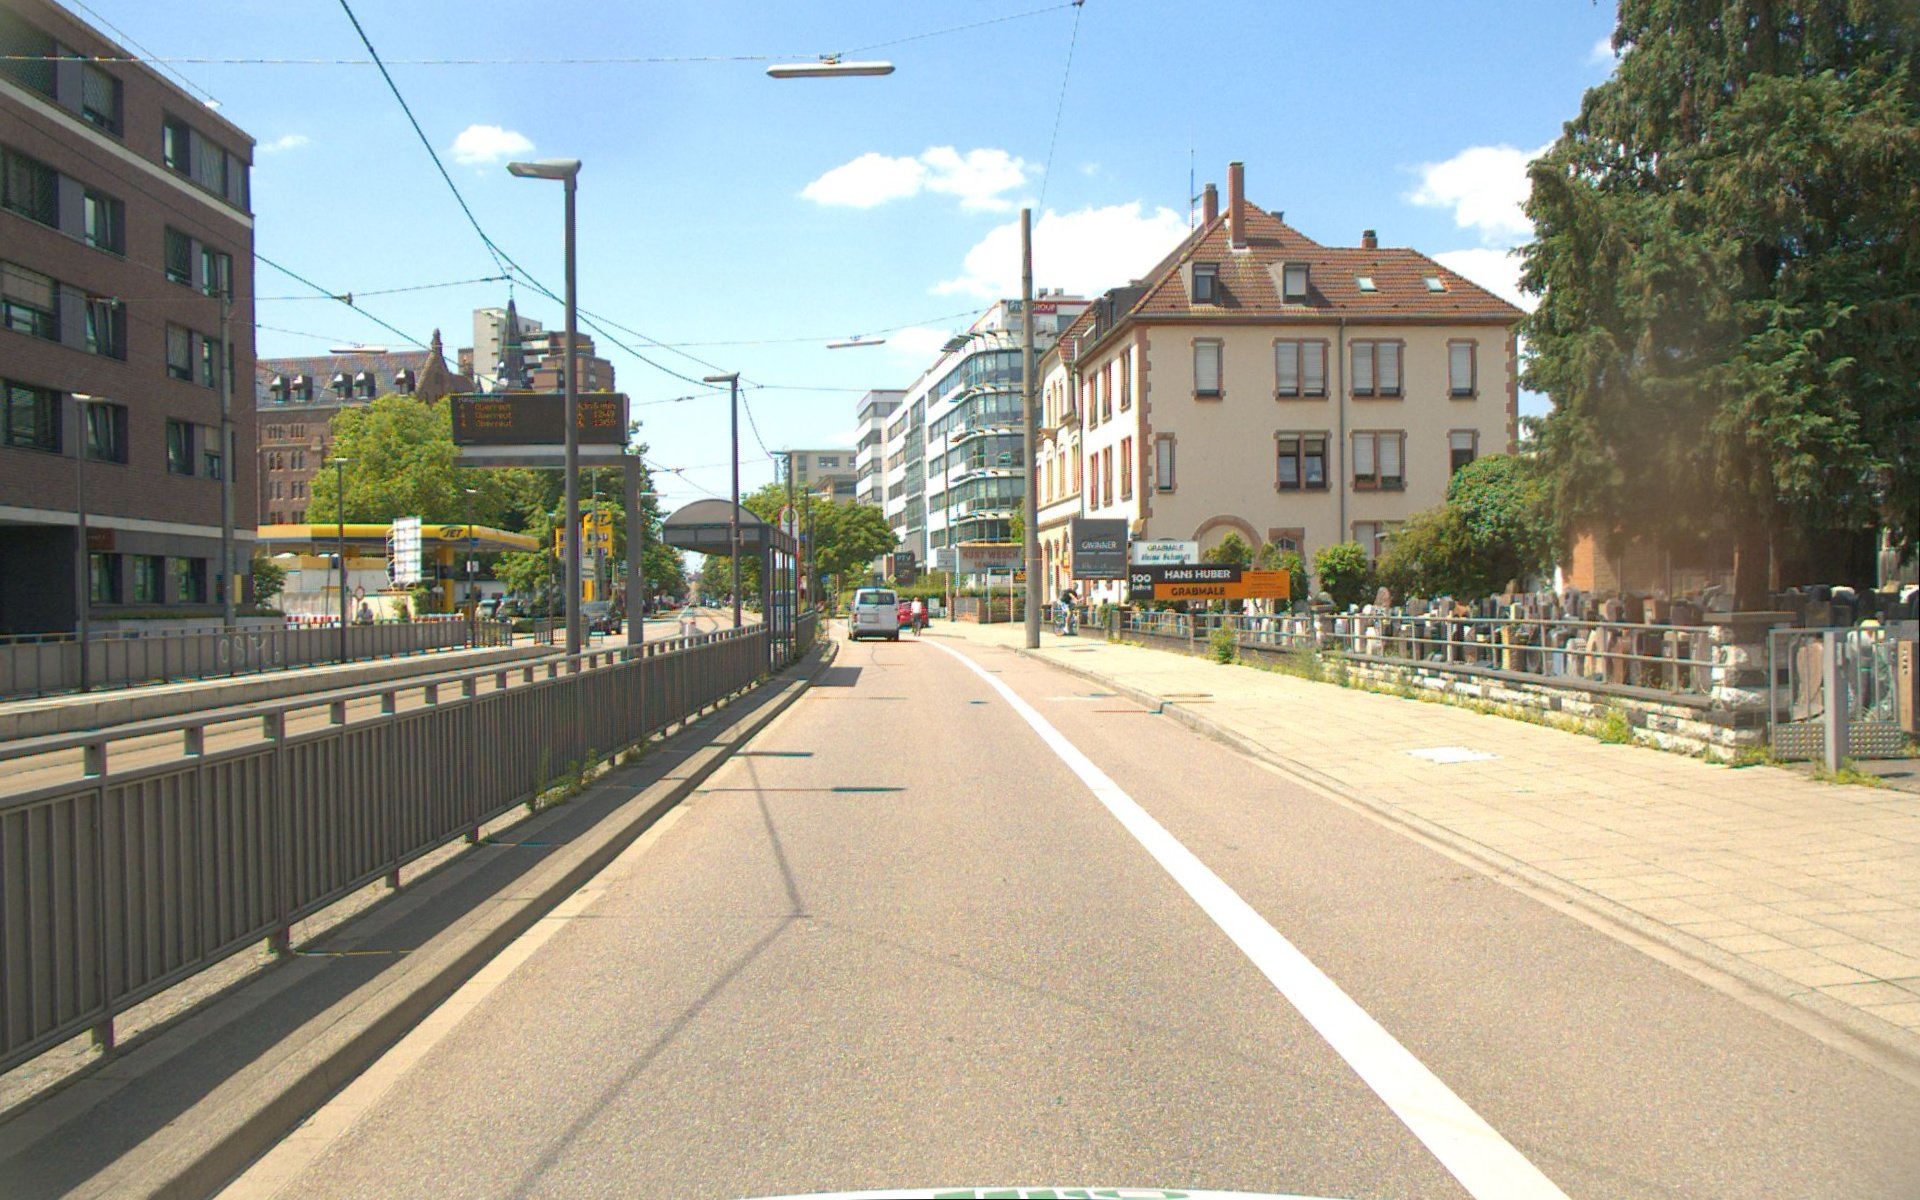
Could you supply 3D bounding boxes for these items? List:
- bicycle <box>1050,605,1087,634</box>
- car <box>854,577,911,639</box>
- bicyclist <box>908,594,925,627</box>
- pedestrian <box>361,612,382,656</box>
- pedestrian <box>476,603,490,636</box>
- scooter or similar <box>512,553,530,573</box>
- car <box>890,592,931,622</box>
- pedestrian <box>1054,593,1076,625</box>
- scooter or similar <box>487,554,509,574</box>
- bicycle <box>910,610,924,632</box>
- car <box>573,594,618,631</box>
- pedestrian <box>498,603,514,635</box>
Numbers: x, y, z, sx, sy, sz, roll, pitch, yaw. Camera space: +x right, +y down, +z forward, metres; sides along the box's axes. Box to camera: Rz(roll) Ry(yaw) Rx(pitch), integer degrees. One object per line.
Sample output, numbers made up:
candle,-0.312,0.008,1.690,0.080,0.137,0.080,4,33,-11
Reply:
bicycle,3.848,0.693,58.655,1.294,0.956,0.355,-5,-1,43
car,-2.871,0.241,60.252,1.719,2.048,3.995,-3,2,-6
bicyclist,-1.912,0.458,71.971,0.580,1.421,0.839,-2,1,-10
pedestrian,-19.275,1.107,54.165,0.426,1.408,0.535,-4,0,-2
pedestrian,-25.085,1.037,86.981,0.541,1.687,0.672,-2,0,-2
scooter or similar,-34.294,-2.894,129.216,1.149,1.492,1.058,-2,0,-4
car,-2.761,0.347,91.490,1.681,1.477,4.064,-4,1,-9
pedestrian,3.730,0.309,58.678,0.481,1.072,0.528,-3,-1,-43
scooter or similar,-36.091,-2.823,129.225,1.286,1.492,1.059,-2,0,2
bicycle,-1.868,0.908,71.988,0.456,0.903,2.046,-2,1,-4
car,-17.957,0.594,81.645,1.666,1.644,3.754,-2,1,-6
pedestrian,-24.140,1.010,87.948,0.568,1.700,0.667,-2,0,-1
